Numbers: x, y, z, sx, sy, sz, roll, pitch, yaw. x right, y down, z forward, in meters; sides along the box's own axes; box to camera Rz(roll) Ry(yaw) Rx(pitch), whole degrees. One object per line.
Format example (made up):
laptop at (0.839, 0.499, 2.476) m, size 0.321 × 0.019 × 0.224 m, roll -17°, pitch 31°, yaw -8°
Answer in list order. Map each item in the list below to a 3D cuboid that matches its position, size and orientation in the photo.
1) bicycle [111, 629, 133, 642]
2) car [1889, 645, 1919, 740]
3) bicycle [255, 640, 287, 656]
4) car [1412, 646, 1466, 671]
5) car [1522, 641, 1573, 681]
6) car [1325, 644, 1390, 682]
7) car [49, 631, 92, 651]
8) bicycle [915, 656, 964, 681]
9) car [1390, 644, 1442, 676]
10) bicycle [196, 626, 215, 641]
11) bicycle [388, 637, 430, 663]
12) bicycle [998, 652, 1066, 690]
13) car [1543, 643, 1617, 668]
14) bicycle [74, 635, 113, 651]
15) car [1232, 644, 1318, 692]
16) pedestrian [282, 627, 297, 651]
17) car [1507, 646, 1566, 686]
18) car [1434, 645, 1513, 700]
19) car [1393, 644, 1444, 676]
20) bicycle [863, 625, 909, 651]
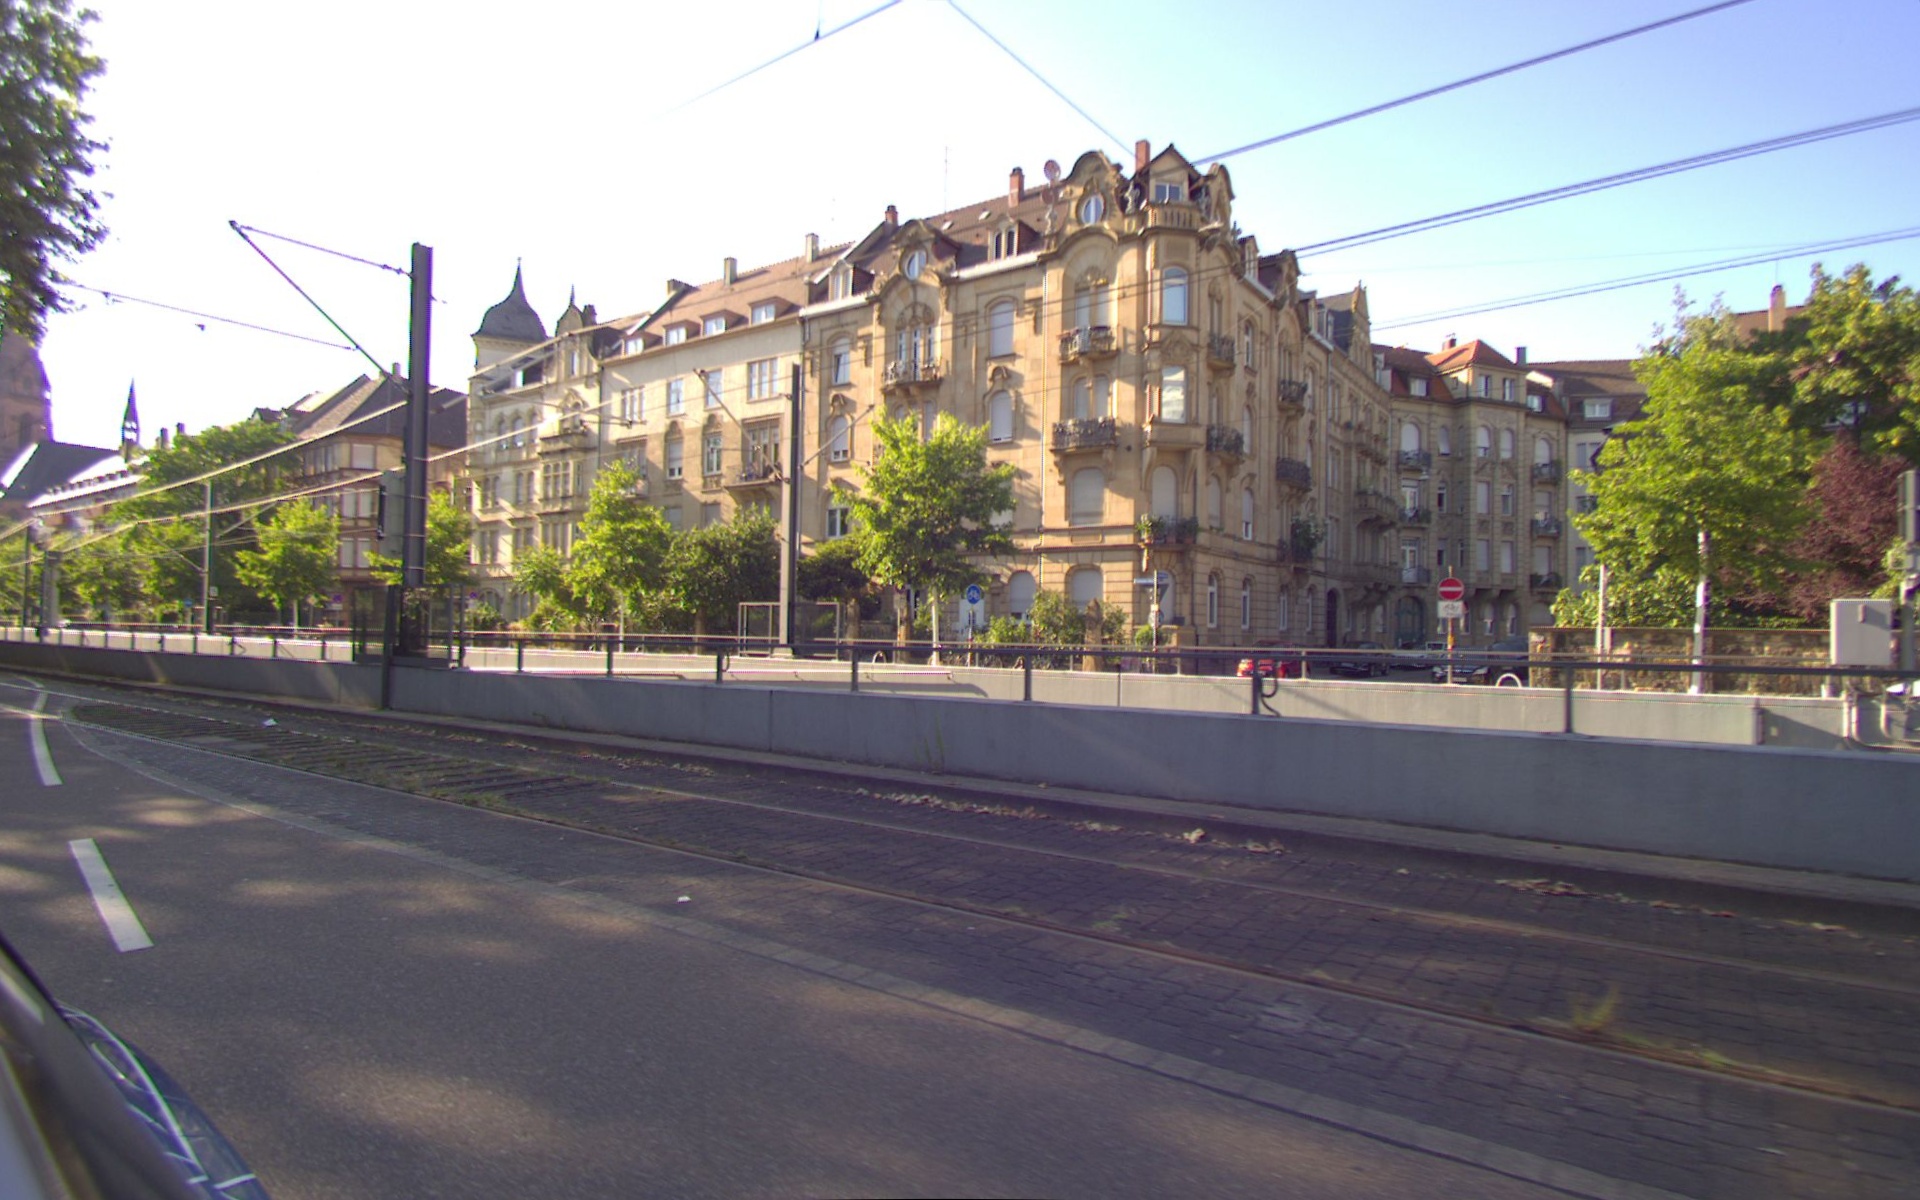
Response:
bicycle at (-64.987, 2.756, 78.478) m, size 0.532 × 0.912 × 1.267 m, roll -1°, pitch 0°, yaw 6°
car at (18.585, 1.589, 16.789) m, size 4.504 × 1.567 × 1.699 m, roll -1°, pitch 0°, yaw 38°
bicycle at (-47.135, 3.275, 69.252) m, size 1.920 × 1.013 × 0.455 m, roll 2°, pitch 0°, yaw 6°
car at (27.629, 3.370, 58.376) m, size 1.819 × 1.416 × 3.945 m, roll -2°, pitch -4°, yaw 41°
car at (27.898, 2.886, 48.022) m, size 1.815 × 1.811 × 3.953 m, roll -1°, pitch -3°, yaw 34°
car at (17.538, 2.750, 44.566) m, size 1.815 × 1.581 × 3.953 m, roll -1°, pitch -3°, yaw 34°
car at (-75.474, 3.480, 85.849) m, size 3.990 × 1.597 × 1.817 m, roll -1°, pitch 0°, yaw 34°
bicycle at (-0.714, 2.358, 34.913) m, size 1.885 × 0.806 × 0.412 m, roll -1°, pitch 0°, yaw 39°
car at (24.069, 3.144, 53.377) m, size 1.815 × 1.581 × 3.953 m, roll -1°, pitch -3°, yaw 34°
bicycle at (-57.686, 2.577, 77.367) m, size 2.371 × 1.107 × 0.550 m, roll -1°, pitch 0°, yaw 36°
bicycle at (-27.616, 2.499, 50.727) m, size 0.599 × 1.289 × 1.712 m, roll -1°, pitch -3°, yaw 42°
bicycle at (2.058, 2.022, 28.846) m, size 1.874 × 1.030 × 0.485 m, roll -1°, pitch 0°, yaw 13°
car at (39.229, 3.497, 64.038) m, size 3.932 × 1.500 × 1.825 m, roll 2°, pitch -3°, yaw -17°
bicycle at (-69.369, 3.432, 81.058) m, size 0.634 × 1.107 × 2.784 m, roll -1°, pitch 0°, yaw 3°
car at (11.162, 2.367, 35.706) m, size 1.815 × 1.581 × 3.953 m, roll -1°, pitch -3°, yaw 34°
pedestrian at (-49.015, 2.820, 73.997) m, size 0.864 × 1.701 × 0.711 m, roll -1°, pitch 0°, yaw 42°
car at (24.275, 2.731, 42.562) m, size 1.815 × 1.581 × 3.953 m, roll -1°, pitch -3°, yaw 34°
car at (17.047, 2.358, 33.525) m, size 1.815 × 1.664 × 3.953 m, roll -1°, pitch -3°, yaw 34°
car at (24.381, 3.163, 53.730) m, size 1.815 × 1.581 × 3.953 m, roll -1°, pitch -3°, yaw 34°
bicycle at (-2.999, 1.524, 40.935) m, size 2.110 × 1.026 × 0.500 m, roll -1°, pitch 0°, yaw 40°
